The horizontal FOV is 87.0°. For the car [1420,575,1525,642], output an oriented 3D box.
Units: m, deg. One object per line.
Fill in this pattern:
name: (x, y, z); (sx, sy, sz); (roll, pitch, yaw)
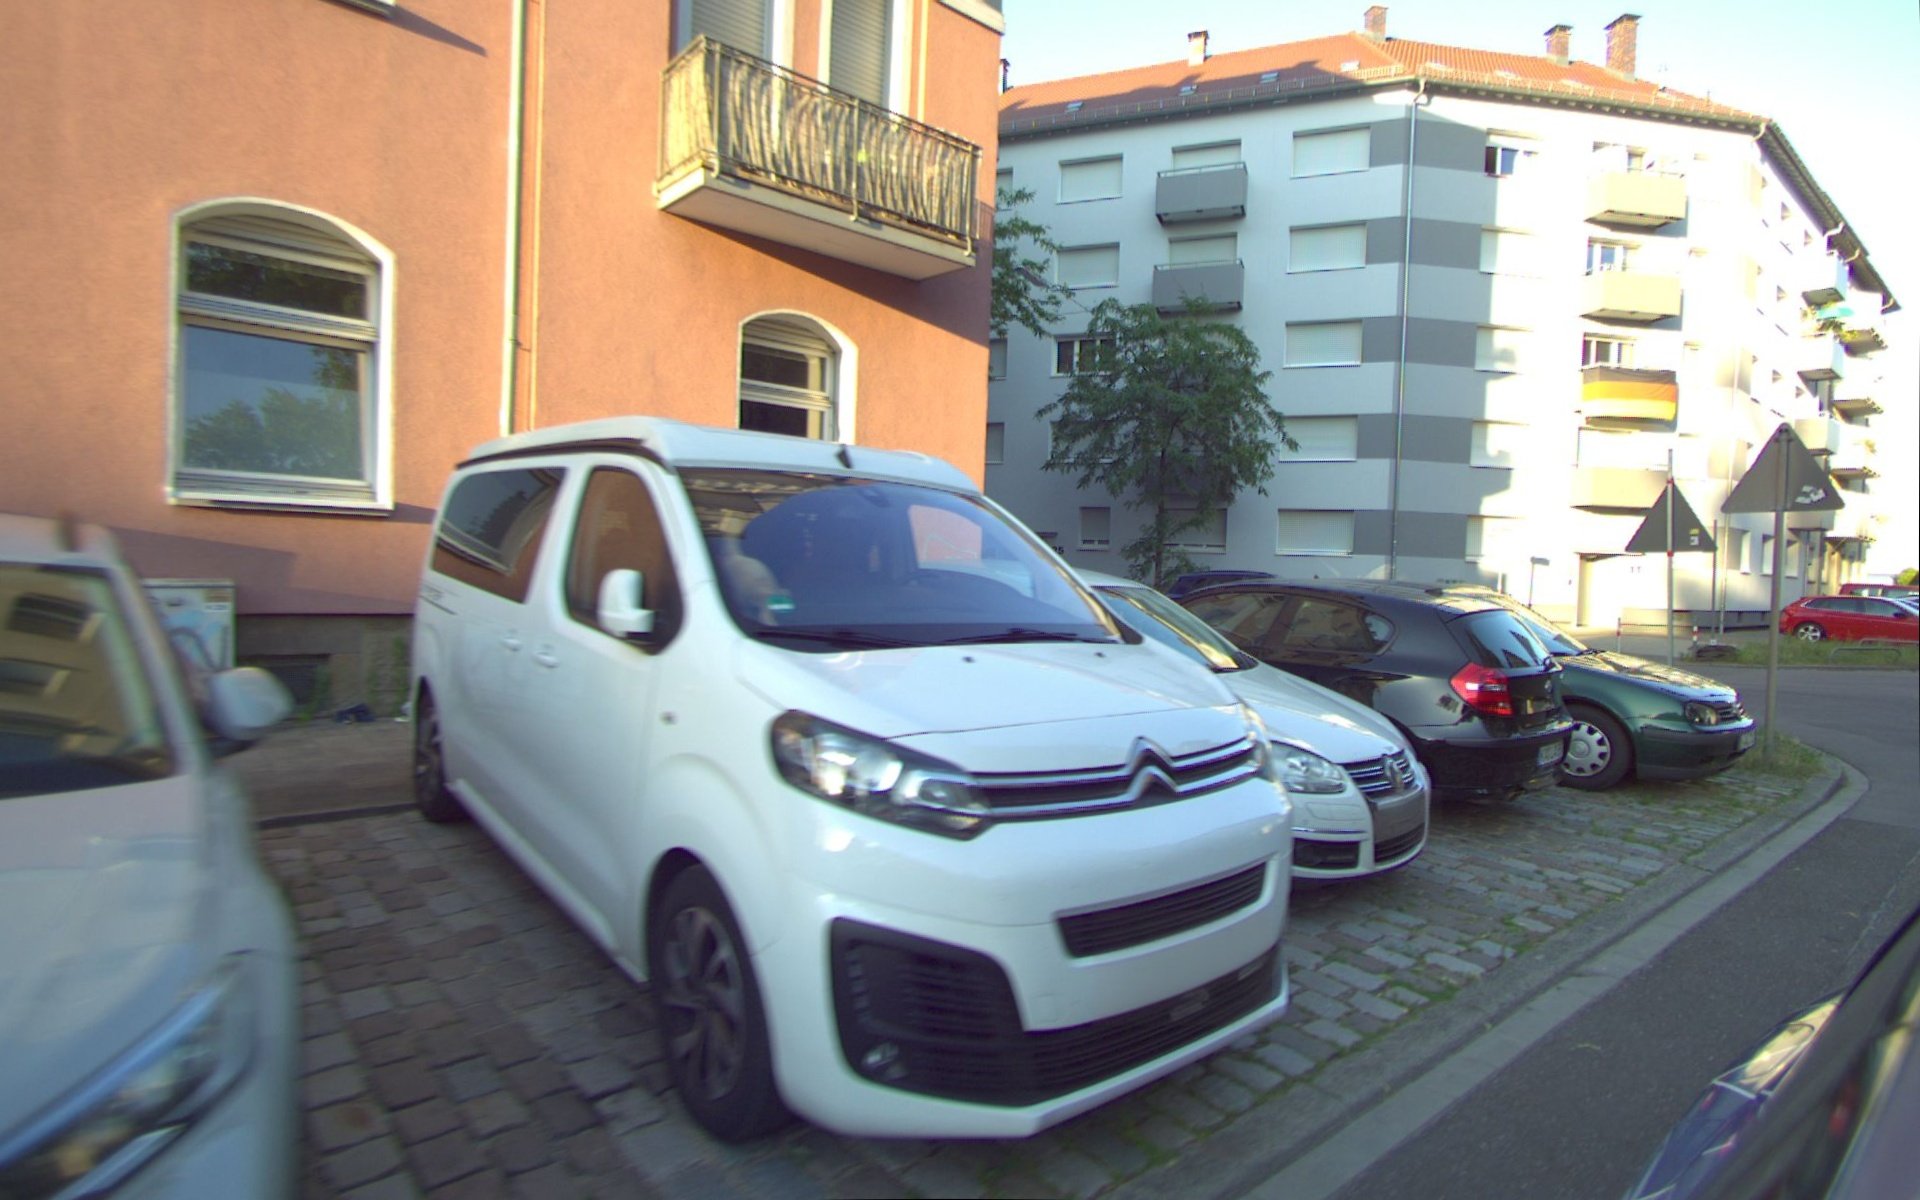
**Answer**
car: (12.488, 0.145, 24.899); (1.978, 1.437, 3.969); (2, 2, 23)

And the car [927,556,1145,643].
car: (1.545, -0.060, 20.308); (3.953, 1.524, 1.957); (2, 2, 21)

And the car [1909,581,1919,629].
car: (42.265, 0.293, 41.604); (1.963, 1.992, 4.431); (1, 2, -37)

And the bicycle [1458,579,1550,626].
bicycle: (15.882, 0.065, 29.539); (2.403, 1.289, 0.699); (1, 1, -10)

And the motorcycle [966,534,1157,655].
motorcycle: (1.285, -0.076, 13.137); (2.305, 1.452, 0.840); (2, 1, -5)

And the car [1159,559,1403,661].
car: (5.802, 0.112, 18.344); (3.963, 1.592, 1.812); (3, 2, 28)

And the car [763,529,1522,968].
car: (0.744, 0.467, 5.918); (1.965, 1.638, 3.994); (0, 2, -41)

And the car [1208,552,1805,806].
car: (4.408, 0.438, 8.659); (1.823, 1.604, 4.108); (0, 2, -43)

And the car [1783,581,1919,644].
car: (25.371, 0.348, 27.534); (1.888, 1.560, 4.312); (0, 2, -38)

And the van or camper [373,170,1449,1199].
van or camper: (-0.849, 0.201, 4.306); (2.005, 2.122, 4.844); (0, 2, -40)

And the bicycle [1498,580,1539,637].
bicycle: (14.429, 0.183, 26.208); (0.510, 1.400, 2.488); (2, 1, 20)

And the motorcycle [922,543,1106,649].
motorcycle: (0.772, -0.063, 15.029); (2.600, 1.452, 0.745); (2, 1, -6)

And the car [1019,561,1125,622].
car: (3.248, -0.282, 28.664); (1.977, 1.535, 3.971); (2, 2, 22)

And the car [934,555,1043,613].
car: (0.937, -0.496, 30.042); (1.977, 1.549, 3.972); (2, 2, 22)

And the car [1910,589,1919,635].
car: (37.566, 0.528, 36.862); (1.963, 1.704, 4.000); (1, 2, -37)

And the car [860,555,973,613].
car: (-1.248, -0.512, 30.945); (1.977, 1.604, 3.972); (2, 2, 22)

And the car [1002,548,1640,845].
car: (2.406, 0.435, 7.507); (1.965, 1.549, 3.994); (0, 2, -41)

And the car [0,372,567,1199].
car: (-2.563, 0.534, 2.162); (1.966, 1.660, 3.994); (-1, 3, -41)

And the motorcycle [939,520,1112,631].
motorcycle: (0.897, -0.339, 14.268); (2.305, 1.452, 0.745); (2, 1, -5)

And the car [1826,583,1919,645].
car: (27.489, 0.420, 28.841); (1.966, 1.682, 3.994); (0, 2, -42)

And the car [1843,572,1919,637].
car: (31.472, 0.188, 32.271); (1.964, 2.024, 4.686); (0, 2, -39)

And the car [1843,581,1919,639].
car: (29.314, 0.331, 30.395); (1.754, 1.649, 3.994); (0, 2, -42)

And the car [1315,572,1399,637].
car: (10.393, 0.067, 26.336); (1.827, 1.504, 3.968); (2, 2, 24)
